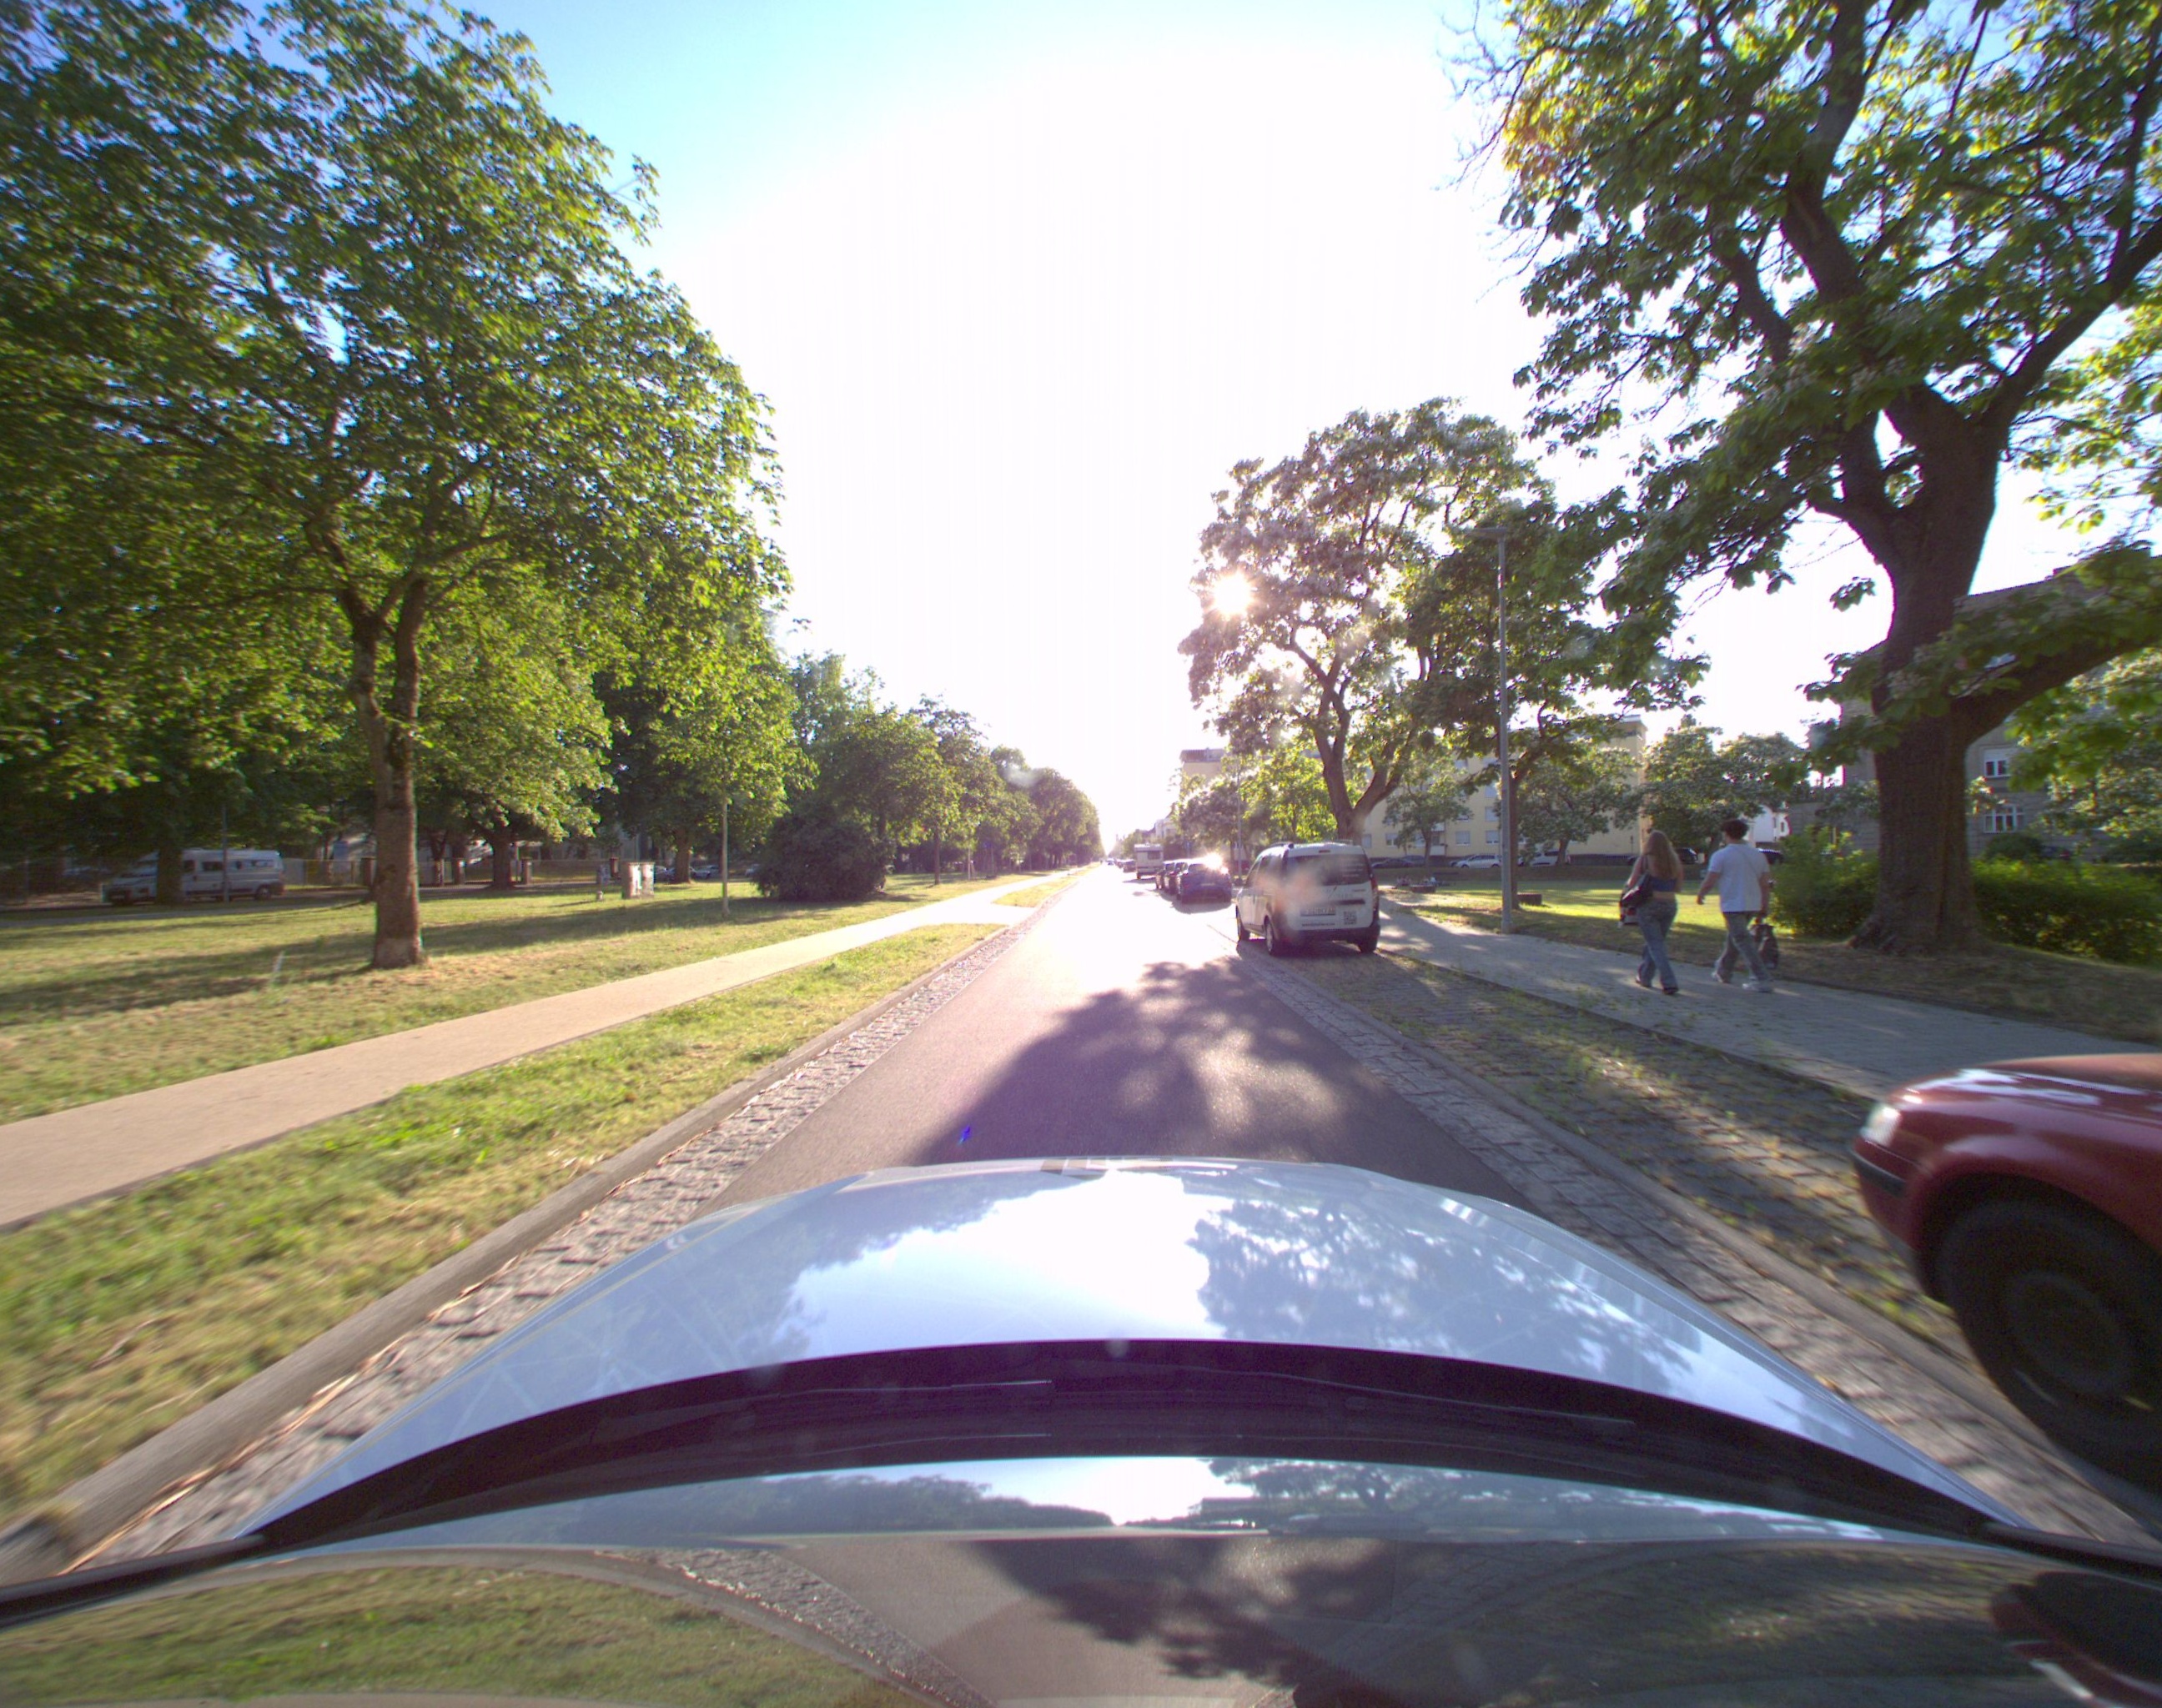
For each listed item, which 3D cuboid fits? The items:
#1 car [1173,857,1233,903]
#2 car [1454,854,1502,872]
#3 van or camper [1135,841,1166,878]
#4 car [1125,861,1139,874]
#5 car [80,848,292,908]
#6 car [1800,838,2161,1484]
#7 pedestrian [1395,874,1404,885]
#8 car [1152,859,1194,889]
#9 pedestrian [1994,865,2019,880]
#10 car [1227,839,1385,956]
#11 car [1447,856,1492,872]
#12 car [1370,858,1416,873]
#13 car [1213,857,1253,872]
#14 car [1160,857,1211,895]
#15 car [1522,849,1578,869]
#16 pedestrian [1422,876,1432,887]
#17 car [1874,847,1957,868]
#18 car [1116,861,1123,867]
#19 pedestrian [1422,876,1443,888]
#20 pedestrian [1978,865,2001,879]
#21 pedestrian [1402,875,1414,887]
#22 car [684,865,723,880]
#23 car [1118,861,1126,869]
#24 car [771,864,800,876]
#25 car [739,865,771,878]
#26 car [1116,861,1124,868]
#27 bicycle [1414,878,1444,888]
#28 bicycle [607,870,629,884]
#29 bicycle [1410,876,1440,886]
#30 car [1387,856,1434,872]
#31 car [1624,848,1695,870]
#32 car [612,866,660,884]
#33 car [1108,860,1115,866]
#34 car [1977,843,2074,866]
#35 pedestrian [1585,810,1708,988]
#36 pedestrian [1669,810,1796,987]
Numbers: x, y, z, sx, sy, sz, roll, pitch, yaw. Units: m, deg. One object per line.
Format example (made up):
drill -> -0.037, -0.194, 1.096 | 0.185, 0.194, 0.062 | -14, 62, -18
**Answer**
car -> 4.422, 0.938, 30.062 | 1.724, 1.551, 4.278 | -1, -1, 3
car -> 37.121, 0.877, 76.149 | 3.949, 1.552, 1.620 | -2, -1, 29
van or camper -> 5.707, 0.494, 67.664 | 2.226, 2.904, 5.674 | -1, -2, 1
car -> 6.823, 1.819, 108.897 | 1.620, 1.669, 4.250 | -1, -1, 2
car -> -40.880, 1.056, 37.582 | 2.711, 2.463, 6.318 | -1, -1, 1
car -> 3.265, 0.663, 0.382 | 1.672, 1.486, 4.811 | -1, -1, 2
pedestrian -> 23.053, 1.857, 58.952 | 0.470, 0.813, 0.612 | 0, -1, 3
car -> 4.811, 1.061, 42.897 | 1.622, 1.464, 4.246 | -1, -1, -1
pedestrian -> 51.515, 1.026, 45.331 | 0.585, 0.794, 0.665 | -1, -1, -9
car -> 3.825, 0.701, 14.648 | 1.672, 1.740, 4.515 | -1, -1, 2
car -> 39.065, 1.011, 81.938 | 3.949, 1.453, 1.892 | -2, -1, 30
car -> 30.463, 1.171, 79.545 | 4.158, 1.358, 1.702 | -2, -1, 22
car -> 16.629, 1.172, 89.239 | 4.174, 1.531, 2.003 | -1, -1, 6
car -> 4.602, 0.979, 36.315 | 1.726, 1.551, 4.422 | -1, -1, 1
car -> 45.067, 0.469, 78.288 | 4.467, 1.746, 1.892 | -2, -1, 37
pedestrian -> 24.914, 1.974, 58.685 | 0.470, 0.813, 0.612 | 0, -1, 3
car -> 62.206, 0.261, 60.745 | 1.886, 1.453, 3.962 | -1, -1, -29
car -> 9.943, 2.577, 210.156 | 1.620, 1.410, 4.250 | -1, -1, 2
pedestrian -> 24.904, 1.984, 57.690 | 0.577, 0.813, 1.244 | 1, -1, -43
pedestrian -> 51.468, 1.020, 46.130 | 0.585, 0.794, 0.665 | -1, -1, -9
pedestrian -> 24.002, 1.977, 59.807 | 0.608, 0.813, 0.724 | 0, -1, 3
car -> -39.013, 1.887, 84.297 | 1.985, 1.508, 4.118 | -1, -1, 3
car -> 8.137, 2.192, 162.352 | 1.620, 1.410, 4.250 | -1, -1, 2
car -> -38.173, 2.035, 105.235 | 1.985, 1.508, 4.118 | -1, -1, 3
car -> -38.526, 2.075, 96.291 | 1.985, 1.508, 4.118 | -1, -1, 3
car -> 8.342, 2.171, 173.850 | 1.620, 1.410, 4.250 | -1, -1, 2
bicycle -> 23.536, 1.980, 55.032 | 1.749, 0.615, 1.822 | -1, -1, 26
bicycle -> -41.302, 2.068, 72.641 | 0.655, 1.175, 2.332 | -1, -1, -1
bicycle -> 23.629, 1.870, 55.924 | 1.749, 0.615, 1.822 | -1, -1, 26
car -> 34.194, 1.061, 84.714 | 4.473, 1.569, 1.890 | -2, -1, 20
car -> 48.183, 0.436, 67.894 | 1.891, 1.746, 4.470 | 0, -2, -45
car -> -40.390, 1.911, 74.053 | 1.985, 1.508, 4.002 | -1, -1, 3
car -> 8.299, 2.543, 221.634 | 1.819, 1.669, 4.250 | -1, -1, 1
car -> 64.917, 0.032, 56.022 | 1.883, 1.453, 3.967 | -1, -1, -24
pedestrian -> 5.744, 0.439, 8.318 | 0.750, 1.736, 0.732 | 0, -1, 2
pedestrian -> 6.662, 0.438, 8.362 | 0.722, 1.736, 0.732 | 0, -1, 2
